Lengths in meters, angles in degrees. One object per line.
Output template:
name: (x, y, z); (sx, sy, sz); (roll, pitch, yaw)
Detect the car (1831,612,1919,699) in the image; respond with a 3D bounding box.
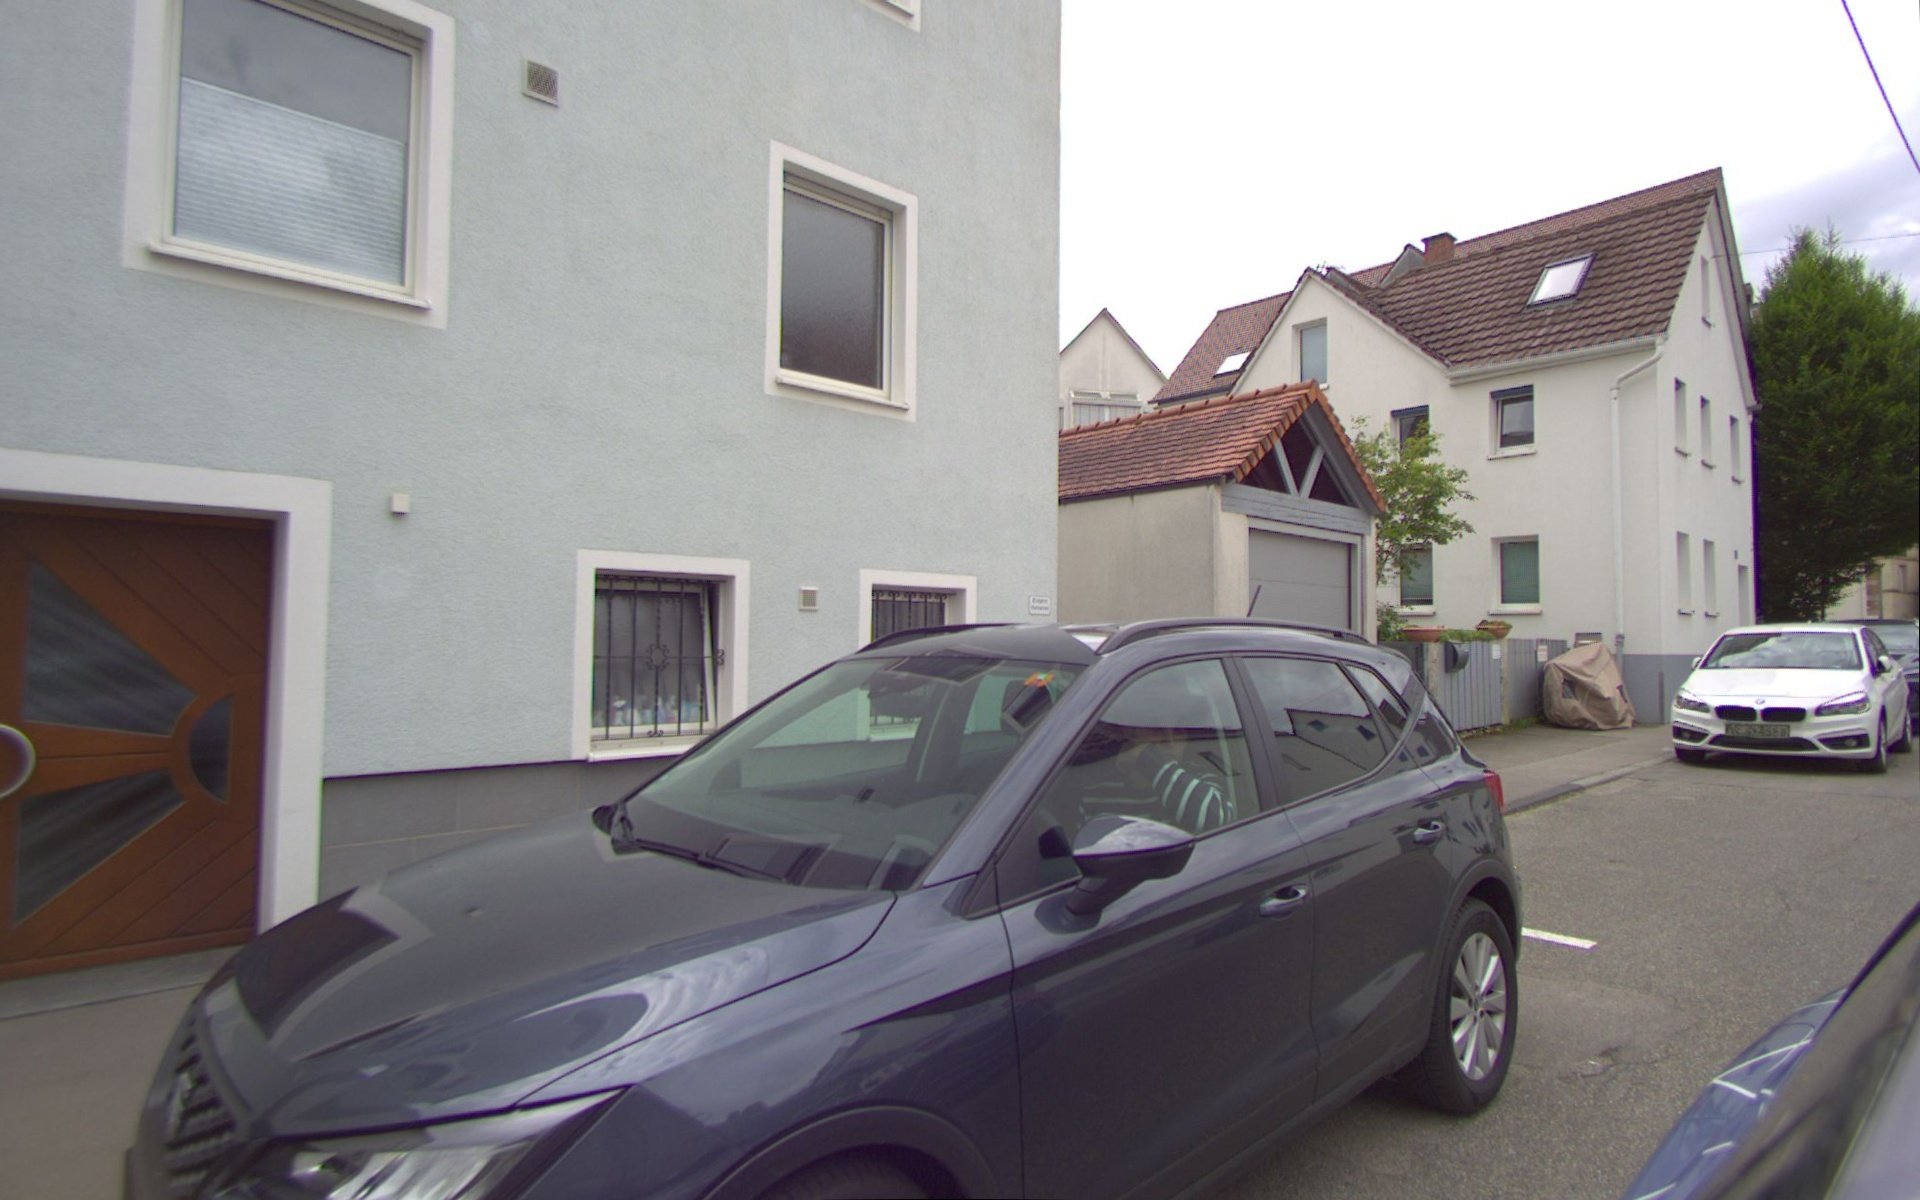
car: (18.565, 1.018, 19.536); (4.735, 1.527, 1.951); (1, -2, -41)

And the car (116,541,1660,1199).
car: (0.355, 0.826, 3.059); (4.454, 1.649, 1.756); (1, -3, -40)

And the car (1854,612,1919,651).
car: (45.509, 1.552, 49.266); (1.813, 1.816, 4.179); (-1, -2, 26)

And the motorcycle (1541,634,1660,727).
motorcycle: (9.322, 1.126, 14.689); (2.131, 1.187, 0.820); (0, 0, -39)

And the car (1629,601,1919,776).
car: (9.809, 0.900, 11.838); (4.791, 1.637, 1.997); (1, -3, -40)

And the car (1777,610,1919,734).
car: (14.254, 0.989, 15.585); (4.817, 1.654, 1.865); (1, -2, -42)
